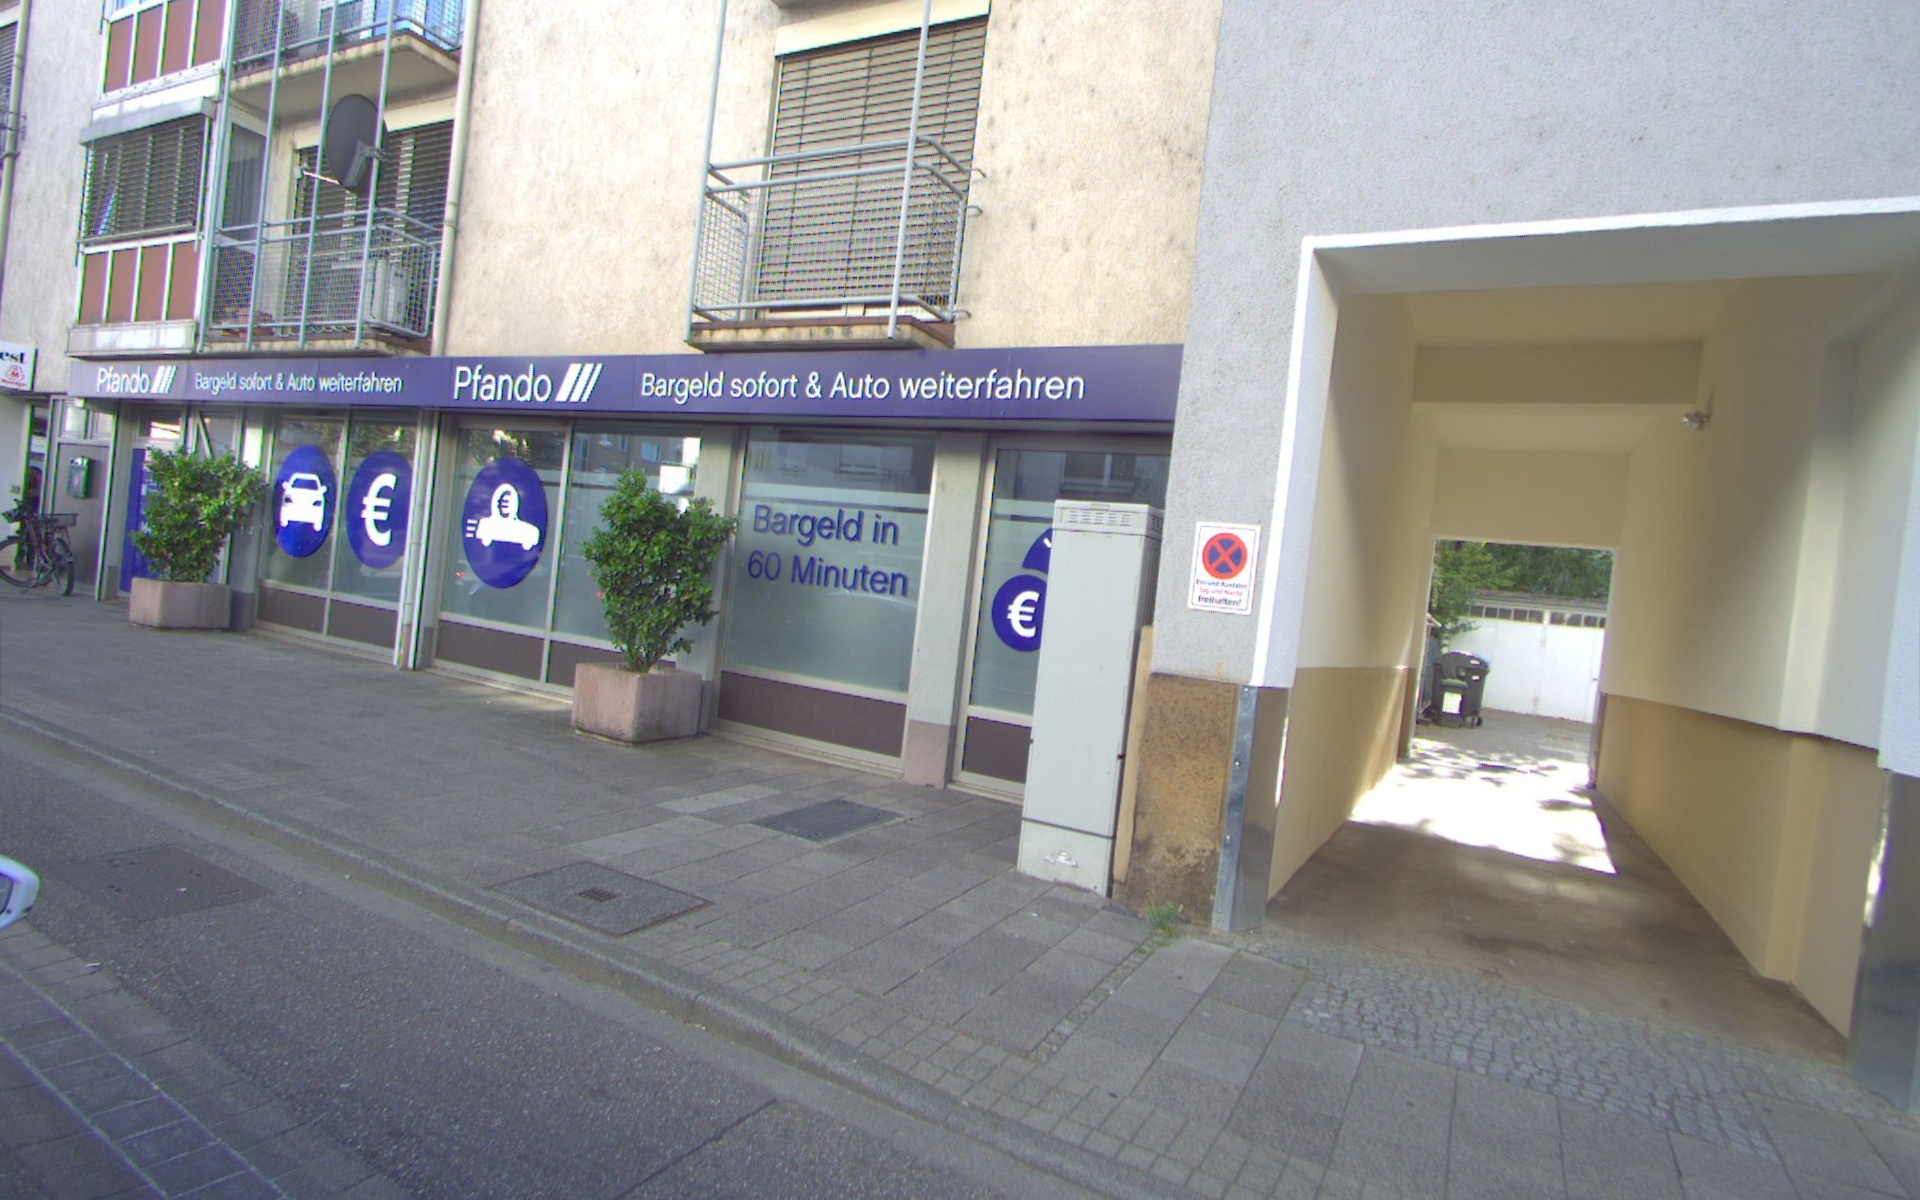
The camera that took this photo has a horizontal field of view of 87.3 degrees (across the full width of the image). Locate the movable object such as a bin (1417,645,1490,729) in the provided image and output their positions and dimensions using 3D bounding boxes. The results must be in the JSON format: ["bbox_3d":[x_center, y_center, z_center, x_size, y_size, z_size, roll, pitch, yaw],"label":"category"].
[{"bbox_3d":[10.000,1.763,20.374,1.092,1.511,1.329,6,-2,30],"label":"movable object such as a bin"}]

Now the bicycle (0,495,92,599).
[{"bbox_3d":[-11.870,-0.698,12.872,1.747,1.176,0.497,6,0,29],"label":"bicycle"}]

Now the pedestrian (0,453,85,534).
[{"bbox_3d":[-14.171,-1.630,15.543,0.667,1.102,0.624,7,2,-5],"label":"pedestrian"}]

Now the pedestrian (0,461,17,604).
[{"bbox_3d":[-11.334,-0.809,11.227,0.796,1.614,0.886,8,3,24],"label":"pedestrian"}]
